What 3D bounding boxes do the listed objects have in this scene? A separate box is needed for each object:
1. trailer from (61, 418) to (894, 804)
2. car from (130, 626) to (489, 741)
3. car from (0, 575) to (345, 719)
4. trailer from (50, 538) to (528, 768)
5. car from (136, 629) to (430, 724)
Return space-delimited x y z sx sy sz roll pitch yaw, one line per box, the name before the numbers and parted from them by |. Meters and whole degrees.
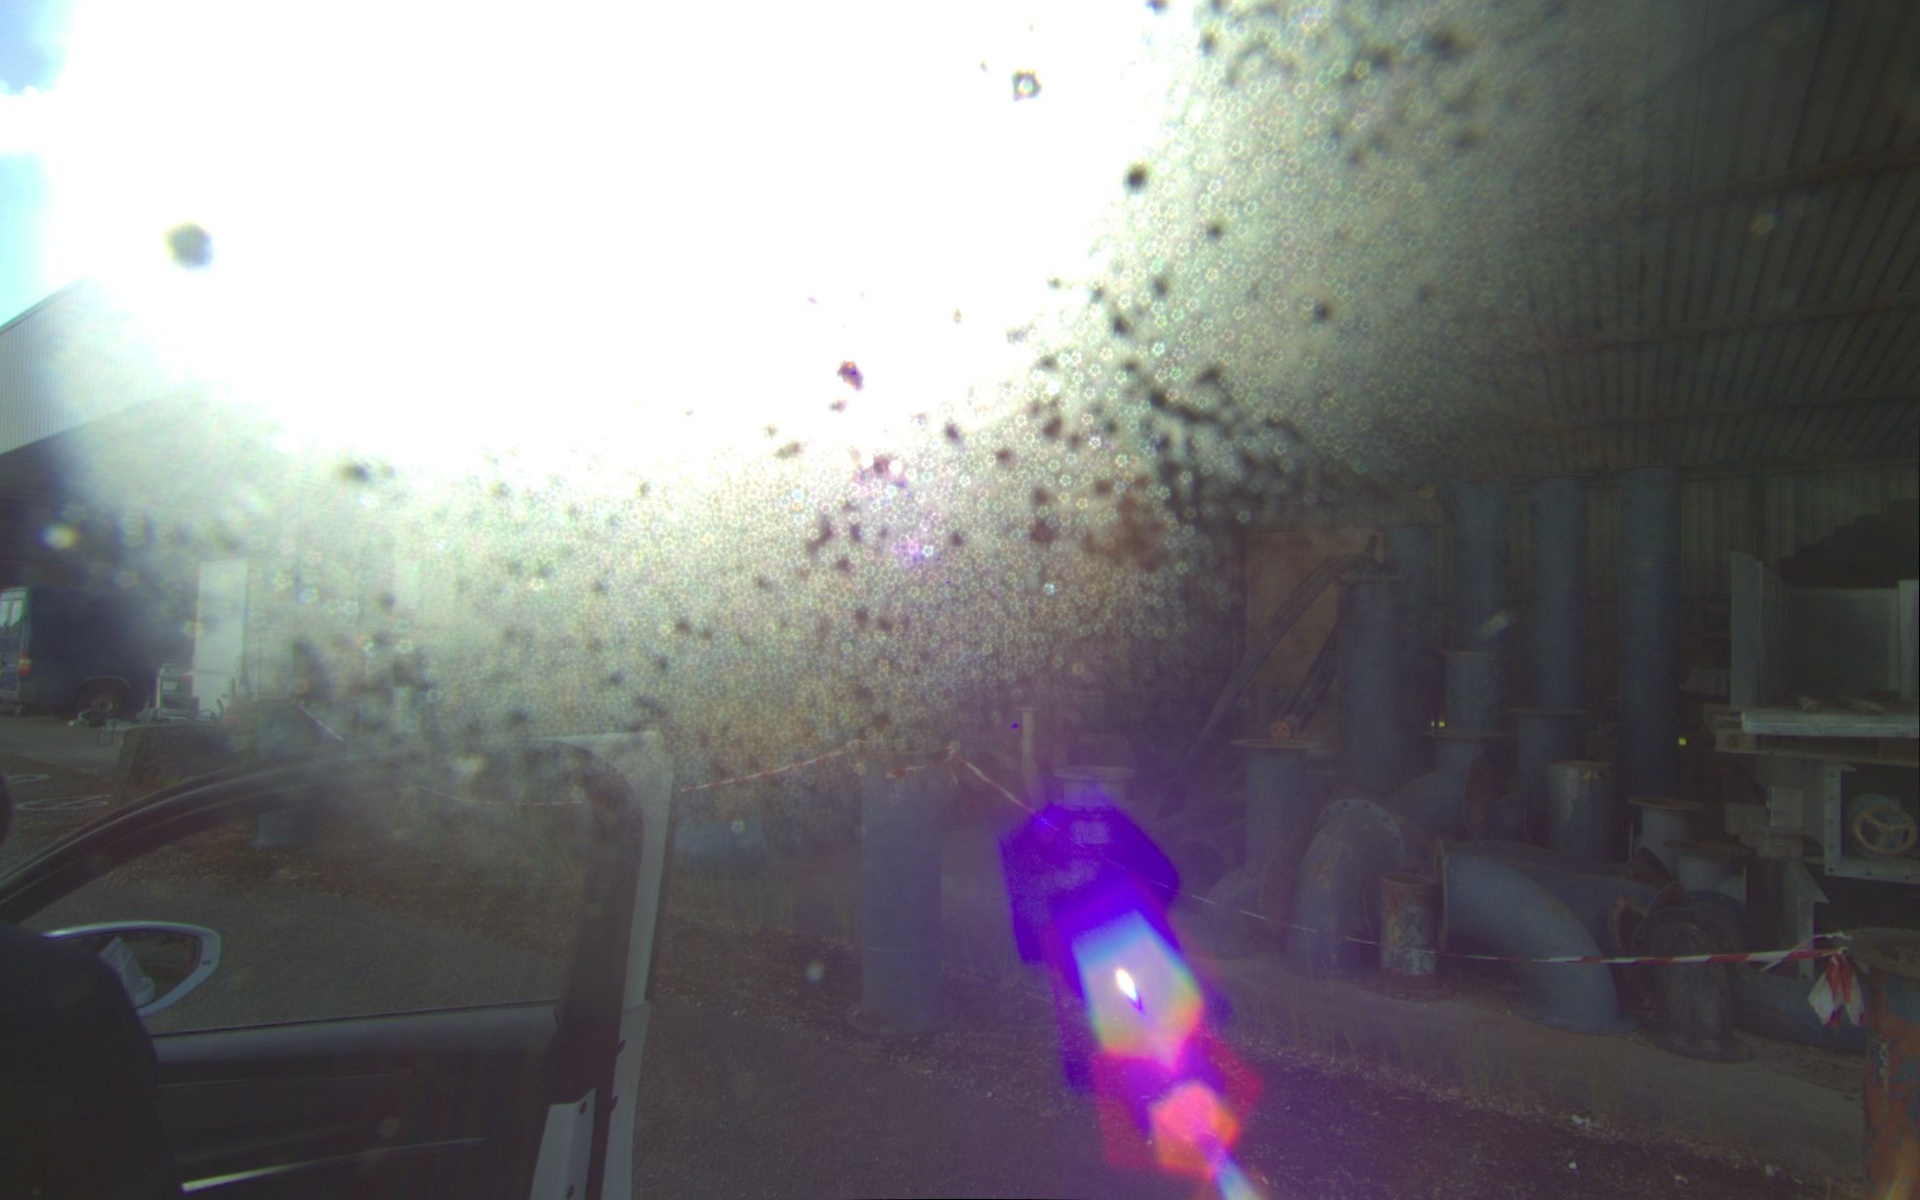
trailer | -5.050 0.321 13.433 2.814 3.256 10.018 -1 -3 34
car | -9.816 1.209 15.496 1.751 1.514 4.324 -1 -3 31
car | -14.764 0.901 18.908 1.973 2.354 4.969 -1 -3 34
trailer | -8.368 0.672 12.967 1.804 2.421 4.796 -1 -3 38
car | -11.914 1.302 17.915 1.761 1.491 3.985 -1 -3 29
